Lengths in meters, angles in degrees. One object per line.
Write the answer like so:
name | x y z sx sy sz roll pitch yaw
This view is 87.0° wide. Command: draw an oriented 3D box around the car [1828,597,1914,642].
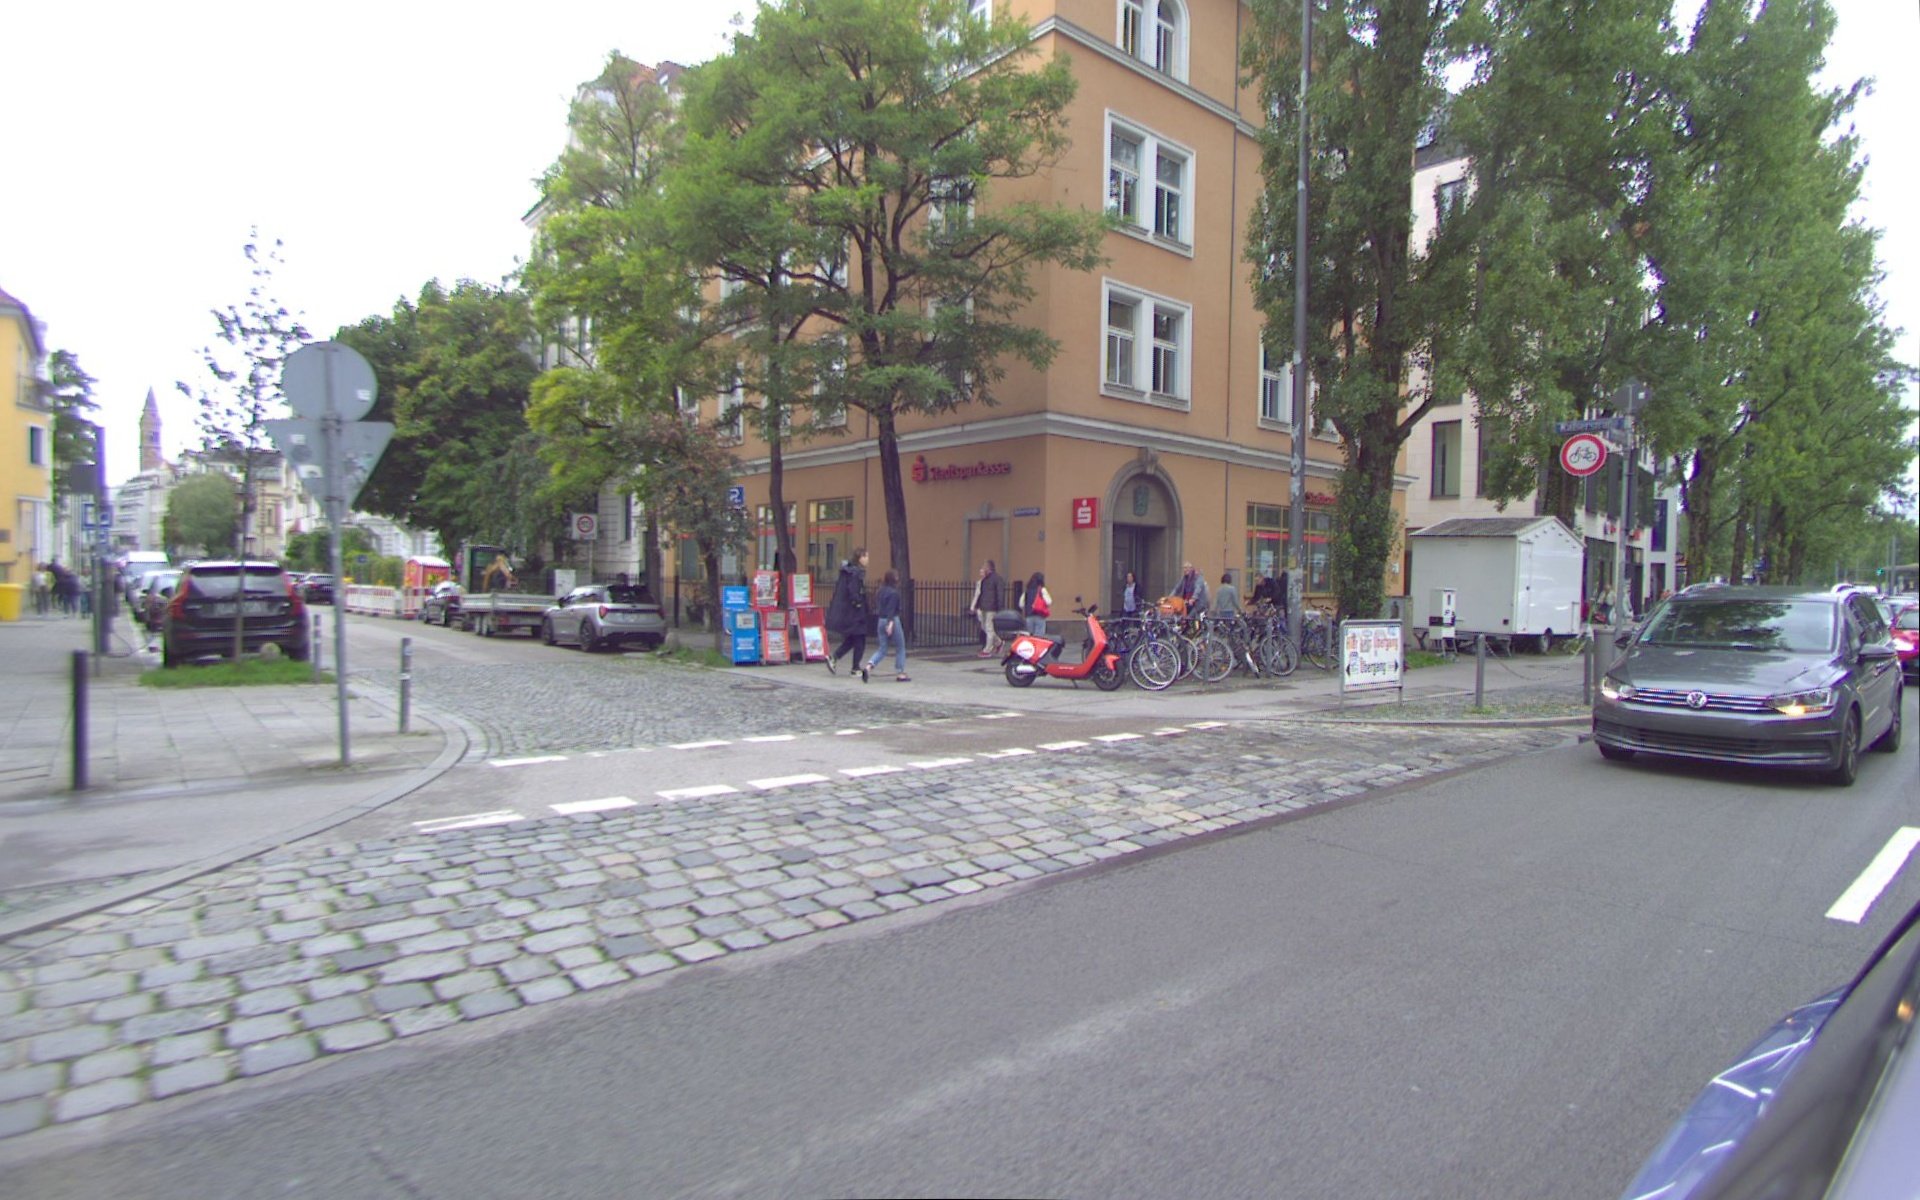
car | 29.878 0.592 33.159 3.934 1.378 1.698 0 0 -42

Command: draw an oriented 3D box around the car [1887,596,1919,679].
car | 18.502 0.656 18.731 3.934 1.451 1.614 0 0 -42

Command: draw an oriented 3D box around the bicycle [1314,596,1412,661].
bicycle | 7.239 0.490 18.201 1.587 1.098 0.339 1 1 28

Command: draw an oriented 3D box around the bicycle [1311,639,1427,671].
bicycle | 6.995 0.927 17.350 1.671 0.378 0.818 4 3 42

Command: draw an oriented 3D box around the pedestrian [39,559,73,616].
pedestrian | -29.200 -0.400 32.691 0.871 1.815 0.753 1 1 44

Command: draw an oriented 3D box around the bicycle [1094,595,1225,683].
bicycle | 2.851 0.525 14.678 0.551 1.151 1.945 0 1 -39

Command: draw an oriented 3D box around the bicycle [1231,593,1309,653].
bicycle | 6.300 0.441 20.508 0.734 1.134 2.071 1 1 41

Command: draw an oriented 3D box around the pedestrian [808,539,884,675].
pedestrian | -1.715 0.096 15.193 0.787 1.973 0.839 0 0 -39

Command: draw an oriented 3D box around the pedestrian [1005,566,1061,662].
pedestrian | 1.243 0.234 17.207 0.740 1.591 0.608 -1 0 30

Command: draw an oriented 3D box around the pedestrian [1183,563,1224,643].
pedestrian | 5.290 0.061 21.987 0.565 1.715 0.633 0 0 -43

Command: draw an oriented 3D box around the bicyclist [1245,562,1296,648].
bicyclist | 6.277 0.088 20.472 0.738 1.708 0.737 1 1 42

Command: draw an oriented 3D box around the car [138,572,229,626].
car | -22.173 -0.061 28.838 1.673 1.417 3.991 -1 1 -43

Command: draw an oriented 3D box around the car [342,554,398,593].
car | -32.343 -1.415 55.440 1.965 2.039 3.993 0 0 -41

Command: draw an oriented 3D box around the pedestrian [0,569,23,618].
pedestrian | -27.857 -0.197 29.655 0.590 1.427 0.798 0 0 -44

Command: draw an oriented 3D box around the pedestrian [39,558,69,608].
pedestrian | -33.122 -0.633 37.005 0.871 1.815 0.753 1 1 44

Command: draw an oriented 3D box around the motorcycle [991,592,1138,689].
motorcycle | 1.427 0.523 13.913 1.939 1.236 0.510 1 1 24

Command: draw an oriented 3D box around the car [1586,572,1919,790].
car | 7.639 0.588 9.548 4.120 1.611 1.880 0 0 -42

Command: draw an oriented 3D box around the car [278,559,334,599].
car | -34.523 -1.085 53.378 1.965 2.039 3.993 0 0 -41

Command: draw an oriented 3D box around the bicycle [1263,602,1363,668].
bicycle | 5.989 0.574 17.227 1.597 1.022 0.337 2 1 43

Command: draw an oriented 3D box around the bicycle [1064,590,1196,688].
bicycle | 2.357 0.505 14.284 0.551 1.255 1.945 0 1 -39

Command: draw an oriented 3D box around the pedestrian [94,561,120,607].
pedestrian | -27.259 -0.503 32.335 0.590 1.427 0.798 0 0 -44

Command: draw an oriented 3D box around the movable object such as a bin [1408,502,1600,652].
movable object such as a bin | 12.824 -0.548 23.788 4.464 3.175 2.445 0 2 -41

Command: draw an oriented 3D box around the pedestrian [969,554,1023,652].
pedestrian | 0.669 0.047 18.878 0.719 1.788 0.699 0 0 -38

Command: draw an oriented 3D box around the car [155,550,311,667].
car | -12.346 0.112 17.235 1.934 1.724 4.428 -1 0 -36

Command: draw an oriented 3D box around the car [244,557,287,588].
car | -46.807 -1.820 68.180 1.965 2.039 3.993 0 0 -41

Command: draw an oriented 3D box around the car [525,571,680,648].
car | -7.954 0.185 22.338 1.874 1.539 3.992 -1 0 -42

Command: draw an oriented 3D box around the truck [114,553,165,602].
truck | -43.813 -1.201 54.026 1.846 2.501 3.991 0 1 -43

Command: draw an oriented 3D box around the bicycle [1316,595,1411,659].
bicycle | 7.378 0.477 18.537 1.593 1.098 0.319 1 1 28

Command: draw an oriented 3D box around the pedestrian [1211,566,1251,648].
pedestrian | 5.749 0.145 21.485 0.617 1.715 0.565 -1 0 44

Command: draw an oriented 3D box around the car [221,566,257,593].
car | -56.988 -1.584 80.017 1.965 2.039 3.993 0 0 -41

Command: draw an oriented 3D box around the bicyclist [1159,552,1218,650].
bicyclist | 4.256 0.006 18.859 0.828 1.779 0.657 1 1 41

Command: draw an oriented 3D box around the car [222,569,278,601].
car | -34.682 -0.718 49.402 1.673 1.487 3.991 -1 1 -43

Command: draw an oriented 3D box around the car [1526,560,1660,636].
car | 18.982 -0.061 30.321 3.919 2.149 1.687 0 1 -29

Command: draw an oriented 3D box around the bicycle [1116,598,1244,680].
bicycle | 3.264 0.550 15.178 0.551 1.102 1.945 0 1 -39

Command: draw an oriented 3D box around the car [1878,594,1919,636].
car | 36.920 0.559 39.375 1.695 1.535 3.937 0 0 43

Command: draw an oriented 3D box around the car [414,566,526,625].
car | -15.212 -0.139 31.342 1.967 1.705 3.989 -1 0 -44

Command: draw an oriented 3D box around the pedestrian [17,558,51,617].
pedestrian | -29.159 -0.398 31.869 0.871 1.815 0.753 1 1 44

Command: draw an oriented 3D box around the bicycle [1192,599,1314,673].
bicycle | 4.770 0.552 16.586 0.551 1.098 1.945 0 1 -39

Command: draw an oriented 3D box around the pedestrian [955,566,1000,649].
pedestrian | 0.334 0.142 19.688 0.564 1.591 0.699 0 0 -38

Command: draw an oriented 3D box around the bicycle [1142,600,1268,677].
bicycle | 3.767 0.562 15.713 0.551 1.089 1.945 0 1 -39

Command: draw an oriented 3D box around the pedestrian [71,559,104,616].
pedestrian | -28.337 -0.409 32.863 0.871 1.815 0.753 1 1 44

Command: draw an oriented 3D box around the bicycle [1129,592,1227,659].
bicycle | 4.032 0.434 18.608 0.884 1.134 2.071 2 1 41

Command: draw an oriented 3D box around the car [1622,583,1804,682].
car | 13.609 0.505 18.189 4.421 1.572 1.787 0 0 -42

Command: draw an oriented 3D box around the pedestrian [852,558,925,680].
pedestrian | -1.029 0.260 14.570 0.758 1.682 0.745 0 0 -41

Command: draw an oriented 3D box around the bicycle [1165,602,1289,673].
bicycle | 4.217 0.564 16.101 0.551 1.022 1.945 0 1 -39

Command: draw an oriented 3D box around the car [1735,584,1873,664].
car | 19.084 0.483 22.814 4.421 1.634 1.787 0 0 -42

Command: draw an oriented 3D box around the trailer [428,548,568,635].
trailer | -12.130 -0.230 26.363 1.873 2.054 5.246 1 0 -42

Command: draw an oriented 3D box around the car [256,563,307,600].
car | -38.353 -1.008 57.180 1.965 2.039 3.993 0 0 -41

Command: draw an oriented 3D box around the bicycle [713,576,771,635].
bicycle | -5.396 0.121 24.987 0.551 1.389 1.945 1 0 -39

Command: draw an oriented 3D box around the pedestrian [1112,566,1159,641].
pedestrian | 3.811 0.074 21.969 0.652 1.591 0.745 0 0 -39
